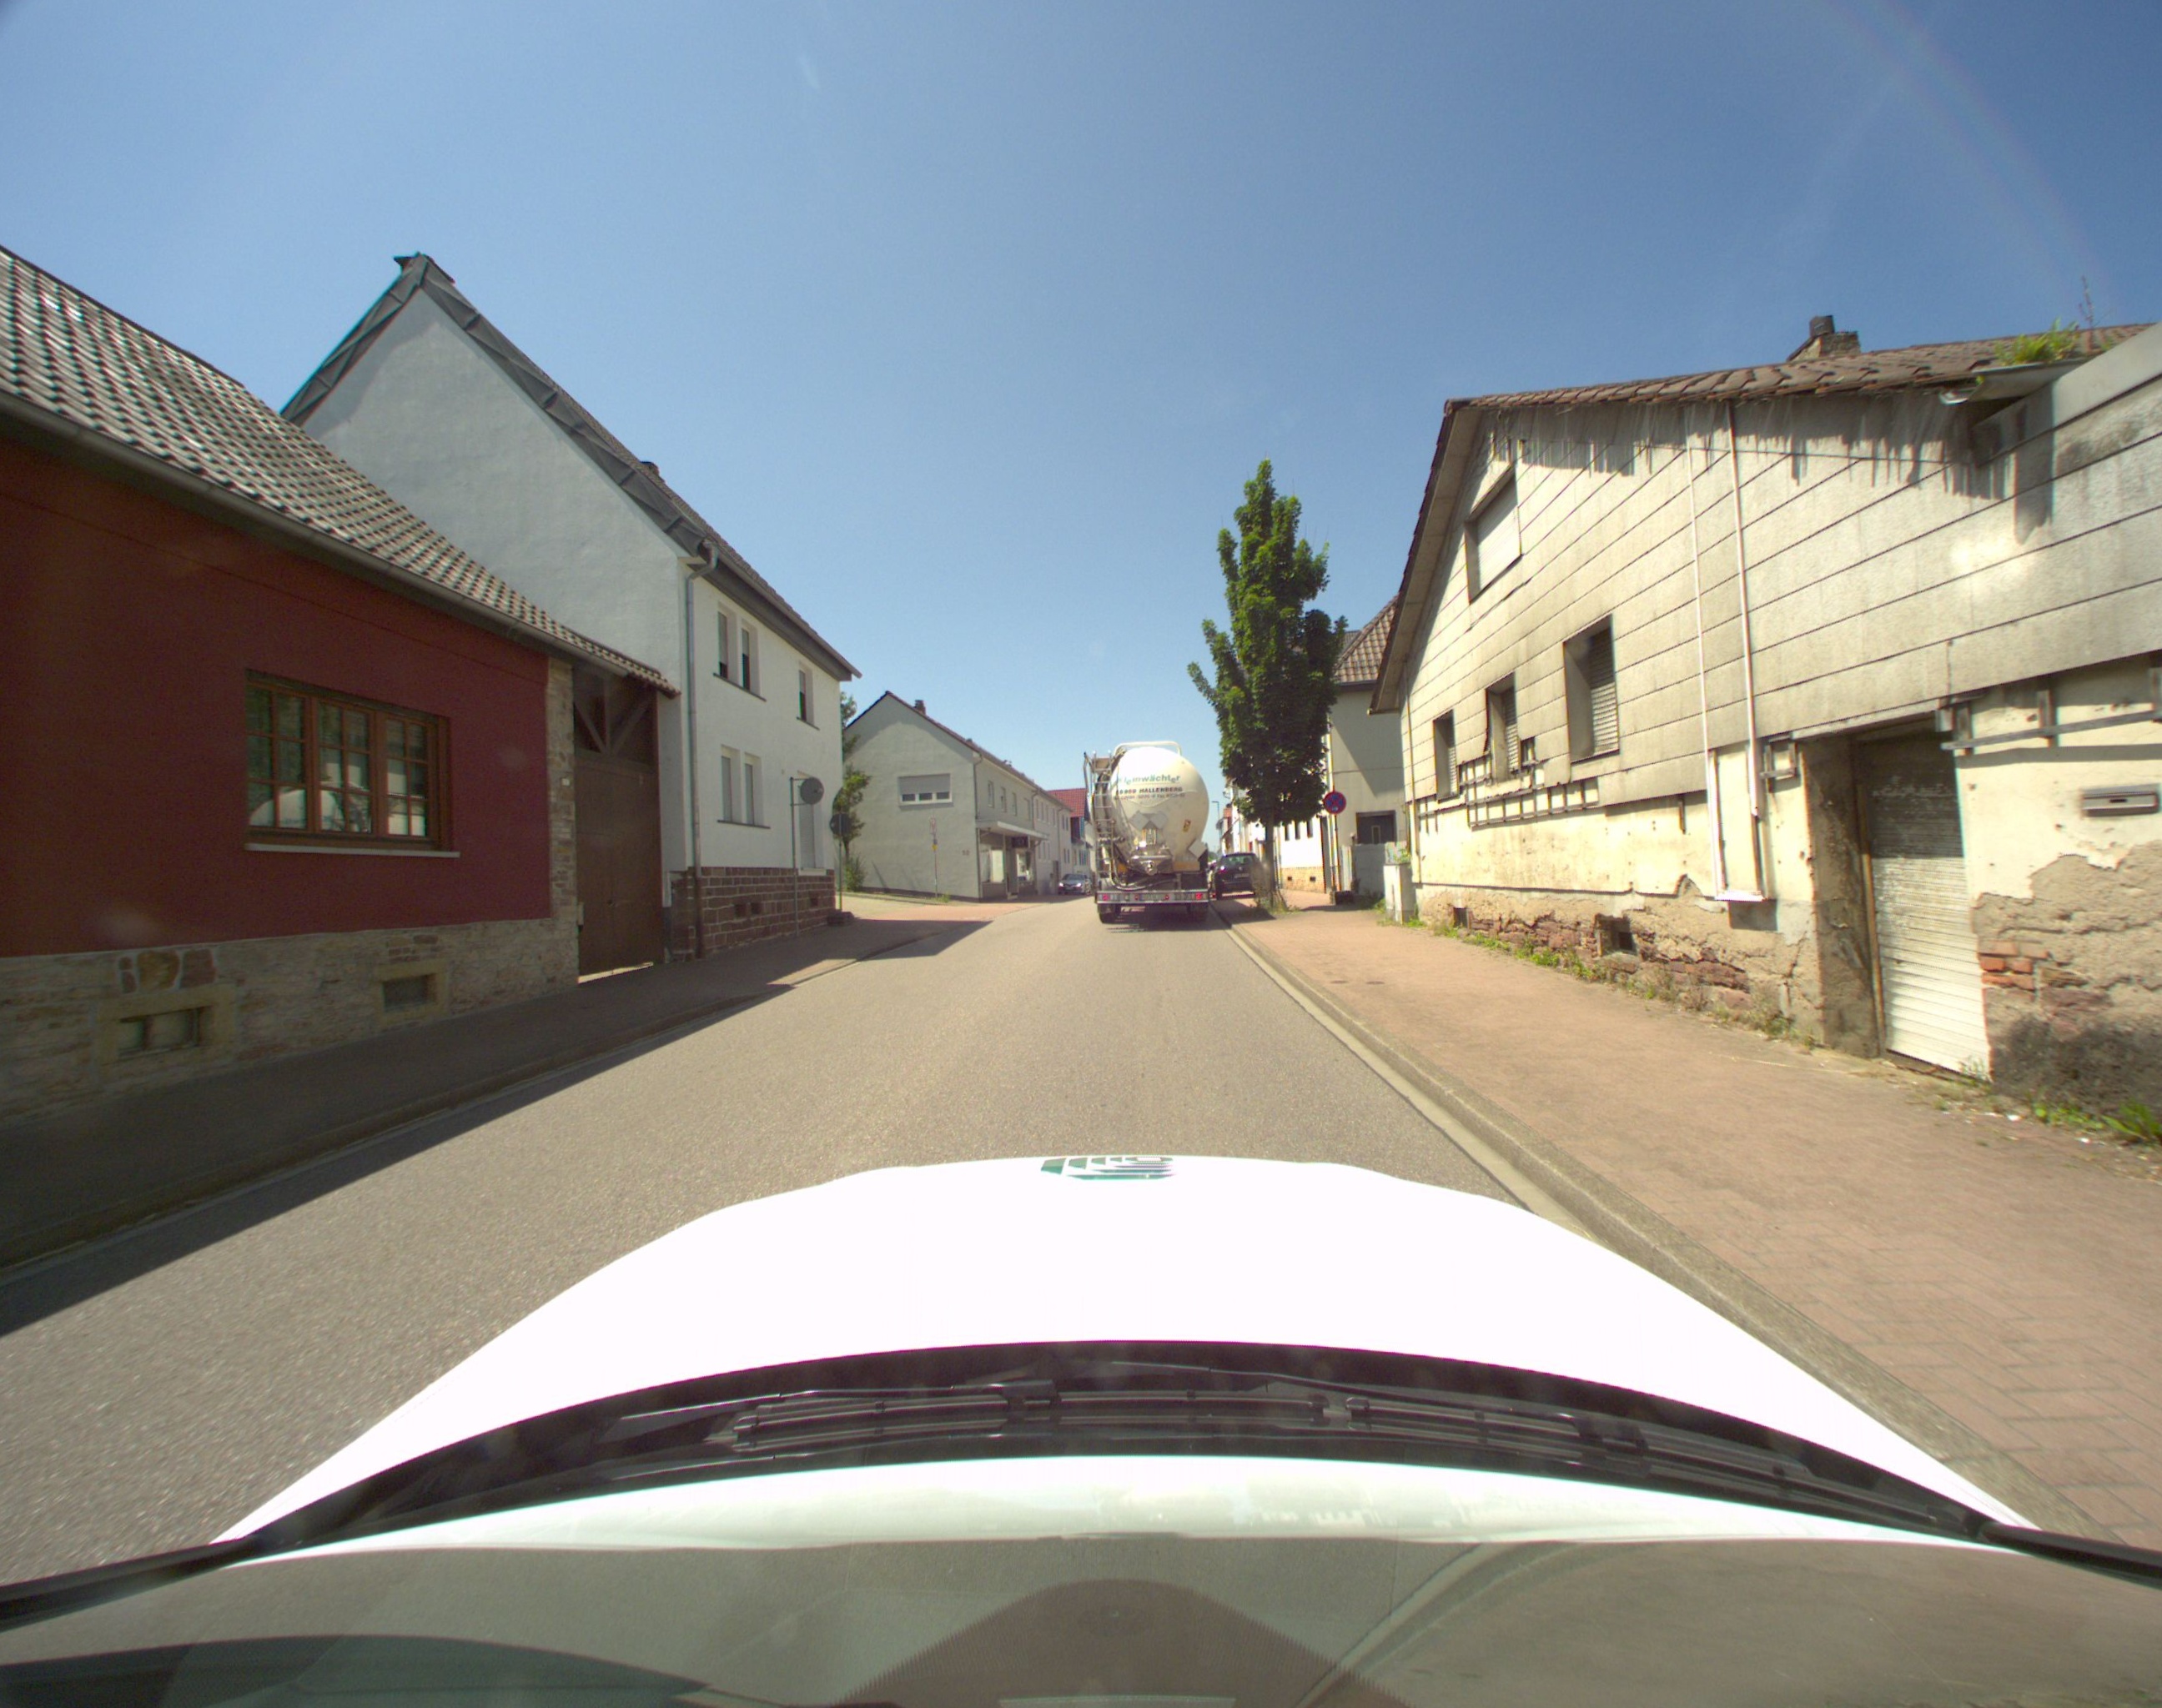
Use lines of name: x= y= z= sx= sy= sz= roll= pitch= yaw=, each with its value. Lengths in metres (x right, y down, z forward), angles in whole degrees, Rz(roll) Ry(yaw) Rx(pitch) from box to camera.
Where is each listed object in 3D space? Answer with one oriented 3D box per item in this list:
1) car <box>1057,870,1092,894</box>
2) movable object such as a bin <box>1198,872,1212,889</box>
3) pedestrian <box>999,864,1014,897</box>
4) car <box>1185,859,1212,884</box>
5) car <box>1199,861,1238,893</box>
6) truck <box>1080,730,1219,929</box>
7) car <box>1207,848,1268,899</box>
car: x=-0.384 y=1.876 z=54.681 sx=1.798 sy=1.557 sz=4.573 roll=0 pitch=-2 yaw=7
movable object such as a bin: x=7.916 y=1.662 z=51.882 sx=0.650 sy=1.035 sz=0.688 roll=-5 pitch=-2 yaw=22
pedestrian: x=-3.964 y=1.403 z=43.248 sx=0.621 sy=1.685 sz=0.772 roll=-2 pitch=-2 yaw=6
car: x=10.053 y=1.510 z=69.790 sx=1.937 sy=1.970 sz=4.791 roll=-3 pitch=-2 yaw=5
car: x=7.167 y=1.196 z=42.872 sx=1.691 sy=1.447 sz=4.845 roll=-5 pitch=-2 yaw=7
truck: x=1.760 y=-0.401 z=20.317 sx=2.719 sy=3.960 sz=8.153 roll=-1 pitch=-1 yaw=6
car: x=5.676 y=0.706 z=30.035 sx=1.793 sy=1.614 sz=4.557 roll=-5 pitch=-1 yaw=7
